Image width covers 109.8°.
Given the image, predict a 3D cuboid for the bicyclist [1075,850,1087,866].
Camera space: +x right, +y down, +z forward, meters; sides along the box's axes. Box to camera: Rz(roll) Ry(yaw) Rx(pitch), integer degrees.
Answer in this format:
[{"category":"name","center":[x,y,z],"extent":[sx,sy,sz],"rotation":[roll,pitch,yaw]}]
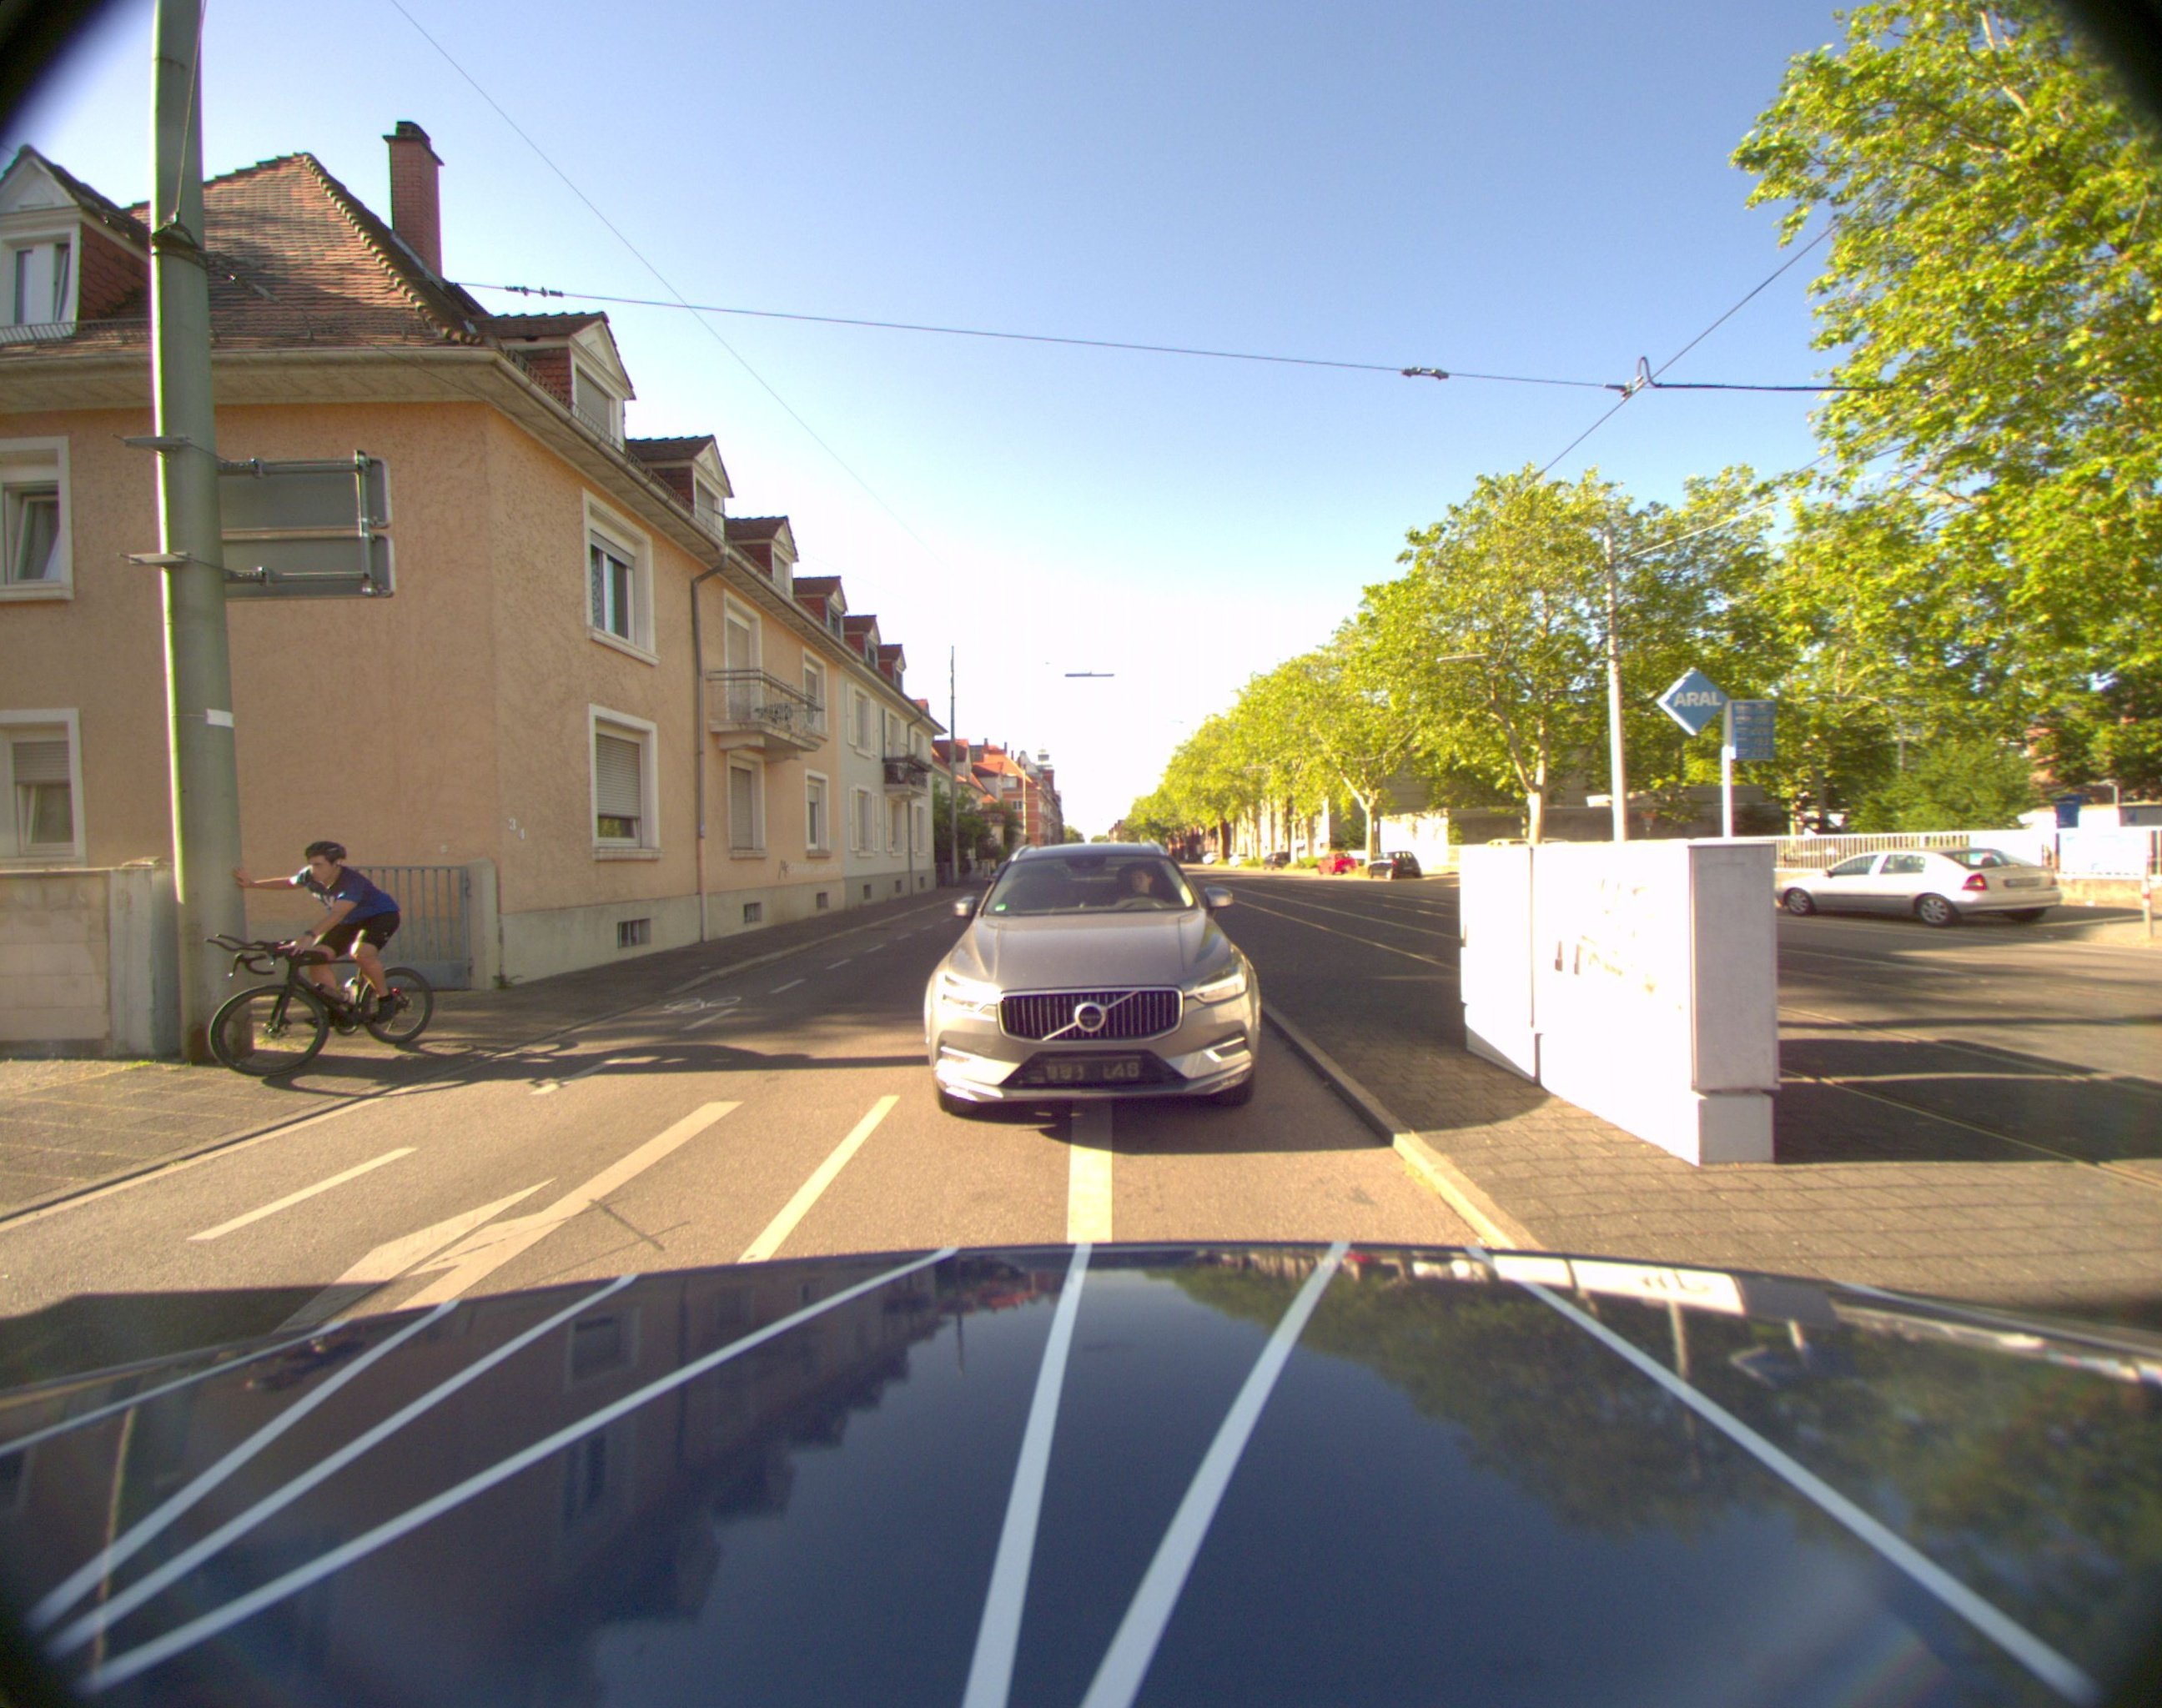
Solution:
[{"category":"bicyclist","center":[0.005,0.388,74.349],"extent":[1.054,1.496,1.250],"rotation":[-1,1,1]}]

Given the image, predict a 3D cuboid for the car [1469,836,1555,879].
[{"category":"car","center":[21.819,0.162,38.643],"extent":[1.999,2.002,3.999],"rotation":[-1,0,-1]}]

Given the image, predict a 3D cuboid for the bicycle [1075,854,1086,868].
[{"category":"bicycle","center":[-0.023,0.690,74.493],"extent":[1.054,1.262,3.914],"rotation":[-1,0,1]}]

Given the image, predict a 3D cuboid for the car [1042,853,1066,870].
[{"category":"car","center":[-2.345,0.608,66.365],"extent":[1.867,1.399,4.078],"rotation":[-1,0,1]}]

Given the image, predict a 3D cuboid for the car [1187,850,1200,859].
[{"category":"car","center":[18.520,0.039,125.296],"extent":[1.758,1.475,3.858],"rotation":[-3,0,3]}]

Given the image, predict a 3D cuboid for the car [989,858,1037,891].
[{"category":"car","center":[-3.229,0.955,37.080],"extent":[1.867,1.399,4.424],"rotation":[-1,0,1]}]

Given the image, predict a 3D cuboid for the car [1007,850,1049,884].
[{"category":"car","center":[-2.906,0.692,42.834],"extent":[1.867,1.778,5.297],"rotation":[-1,0,1]}]

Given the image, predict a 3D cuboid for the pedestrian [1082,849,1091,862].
[{"category":"pedestrian","center":[0.863,0.217,121.142],"extent":[1.457,2.002,1.193],"rotation":[-1,1,0]}]

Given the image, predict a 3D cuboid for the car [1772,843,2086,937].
[{"category":"car","center":[16.244,0.604,14.910],"extent":[1.847,1.477,3.858],"rotation":[-4,0,2]}]

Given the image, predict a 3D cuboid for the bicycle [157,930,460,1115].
[{"category":"bicycle","center":[-6.101,1.262,6.172],"extent":[0.550,1.056,1.794],"rotation":[4,0,1]}]

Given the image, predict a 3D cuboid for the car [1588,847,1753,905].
[{"category":"car","center":[16.485,0.564,21.517],"extent":[1.745,1.389,3.858],"rotation":[-4,0,3]}]

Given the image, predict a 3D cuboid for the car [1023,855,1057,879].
[{"category":"car","center":[-2.570,0.804,48.502],"extent":[1.867,1.399,4.078],"rotation":[-1,0,1]}]

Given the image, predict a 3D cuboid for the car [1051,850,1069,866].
[{"category":"car","center":[-2.315,0.417,85.454],"extent":[1.867,1.653,4.078],"rotation":[-1,0,1]}]

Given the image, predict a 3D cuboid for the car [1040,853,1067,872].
[{"category":"car","center":[-2.124,0.656,60.061],"extent":[1.867,1.399,4.078],"rotation":[-1,0,1]}]

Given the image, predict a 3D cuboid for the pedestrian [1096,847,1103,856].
[{"category":"pedestrian","center":[5.501,-0.812,225.163],"extent":[1.791,2.481,1.901],"rotation":[-1,1,2]}]

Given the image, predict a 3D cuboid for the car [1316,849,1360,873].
[{"category":"car","center":[16.912,0.442,50.187],"extent":[1.717,1.421,3.858],"rotation":[-3,0,3]}]

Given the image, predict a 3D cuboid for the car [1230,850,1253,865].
[{"category":"car","center":[17.588,0.343,83.346],"extent":[1.758,1.475,3.858],"rotation":[-3,0,3]}]

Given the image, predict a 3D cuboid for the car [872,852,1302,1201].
[{"category":"car","center":[0.061,0.811,5.935],"extent":[1.998,1.609,4.697],"rotation":[-1,0,1]}]

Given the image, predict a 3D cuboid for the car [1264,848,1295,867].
[{"category":"car","center":[17.182,0.283,65.918],"extent":[1.758,1.536,3.858],"rotation":[-3,0,3]}]

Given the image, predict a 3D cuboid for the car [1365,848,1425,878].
[{"category":"car","center":[16.899,0.451,41.045],"extent":[1.758,1.449,3.858],"rotation":[-3,0,3]}]

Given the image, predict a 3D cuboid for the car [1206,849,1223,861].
[{"category":"car","center":[17.682,0.149,100.939],"extent":[1.758,1.475,3.858],"rotation":[-3,0,3]}]

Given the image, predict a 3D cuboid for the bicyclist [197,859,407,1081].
[{"category":"bicyclist","center":[-6.142,0.852,6.057],"extent":[0.562,1.607,1.016],"rotation":[-1,1,1]}]

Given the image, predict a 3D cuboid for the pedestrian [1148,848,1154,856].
[{"category":"pedestrian","center":[19.611,-0.574,213.139],"extent":[1.686,2.002,1.761],"rotation":[-1,1,1]}]

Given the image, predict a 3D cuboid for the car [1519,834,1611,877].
[{"category":"car","center":[24.167,0.073,38.102],"extent":[1.999,2.002,3.999],"rotation":[-1,0,-1]}]
